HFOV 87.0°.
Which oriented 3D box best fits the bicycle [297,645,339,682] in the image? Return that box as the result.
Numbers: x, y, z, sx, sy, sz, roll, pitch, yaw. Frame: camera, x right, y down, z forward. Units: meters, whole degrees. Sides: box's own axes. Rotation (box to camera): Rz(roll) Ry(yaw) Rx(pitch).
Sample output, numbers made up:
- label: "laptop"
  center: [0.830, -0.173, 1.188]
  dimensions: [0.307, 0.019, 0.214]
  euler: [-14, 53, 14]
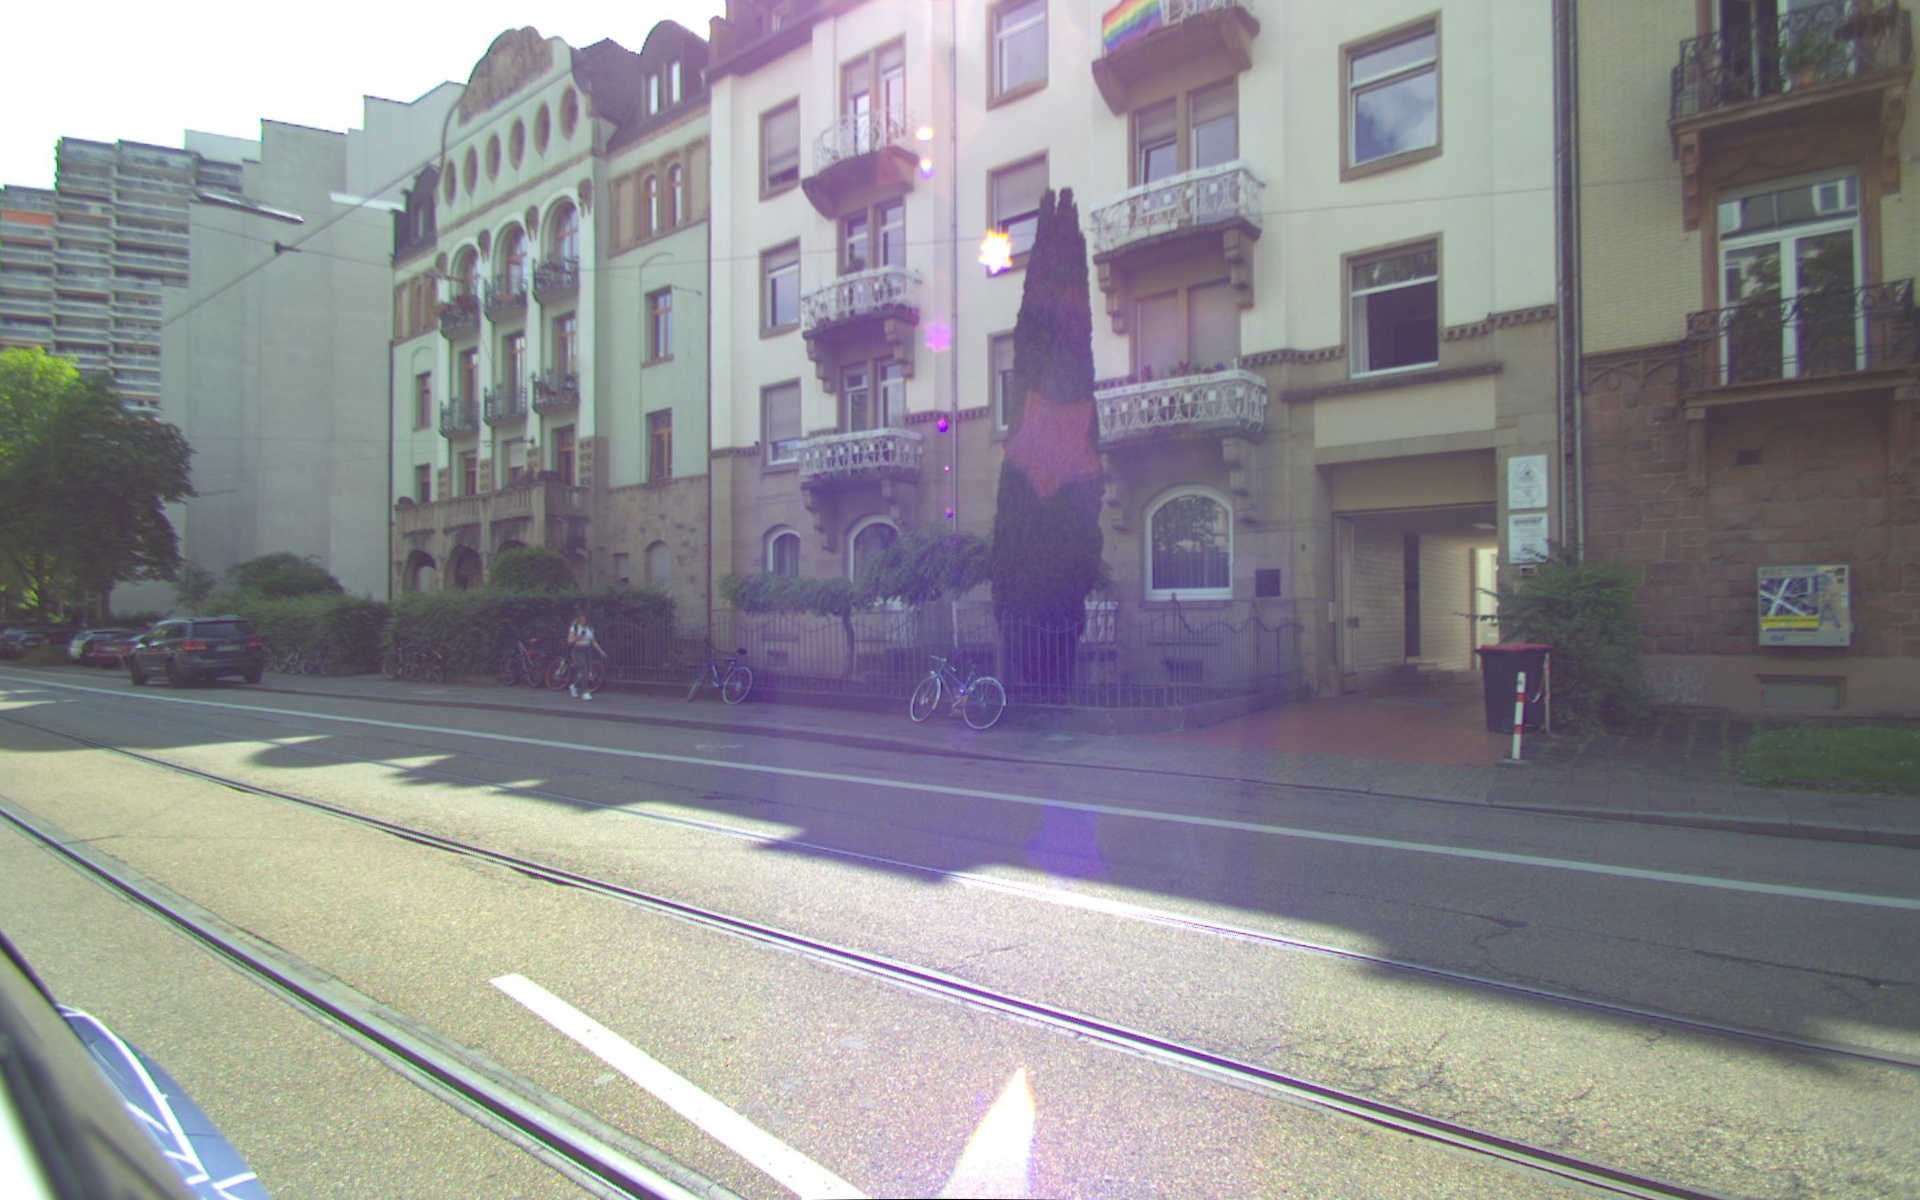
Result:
- label: "bicycle"
  center: [-17.472, 1.721, 27.533]
  dimensions: [1.919, 0.966, 0.379]
  euler: [-2, -1, 40]

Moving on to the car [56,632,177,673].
- label: "car"
  center: [-33.417, 2.100, 40.245]
  dimensions: [1.673, 1.495, 3.808]
  euler: [1, -3, -2]

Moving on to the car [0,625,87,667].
- label: "car"
  center: [-46.364, 2.304, 50.358]
  dimensions: [1.886, 1.969, 5.177]
  euler: [1, -3, -8]

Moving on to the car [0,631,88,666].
- label: "car"
  center: [-43.951, 2.318, 48.177]
  dimensions: [1.714, 1.605, 4.005]
  euler: [1, -3, -7]

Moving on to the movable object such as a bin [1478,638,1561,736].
- label: "movable object such as a bin"
  center: [6.681, 1.024, 12.101]
  dimensions: [0.587, 1.077, 0.609]
  euler: [-2, 1, -18]

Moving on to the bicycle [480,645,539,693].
- label: "bicycle"
  center: [-9.492, 1.432, 21.291]
  dimensions: [1.799, 0.966, 0.379]
  euler: [-2, -1, 40]

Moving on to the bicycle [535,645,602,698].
- label: "bicycle"
  center: [-7.620, 1.371, 19.658]
  dimensions: [1.799, 0.983, 0.379]
  euler: [-2, -1, 40]

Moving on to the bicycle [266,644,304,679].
- label: "bicycle"
  center: [-19.409, 1.751, 29.088]
  dimensions: [1.808, 0.966, 0.379]
  euler: [-2, -1, 40]

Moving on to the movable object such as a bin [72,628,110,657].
- label: "movable object such as a bin"
  center: [-54.880, 2.697, 63.892]
  dimensions: [1.535, 1.795, 1.375]
  euler: [-1, -5, 34]

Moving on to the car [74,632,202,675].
- label: "car"
  center: [-31.018, 2.028, 38.345]
  dimensions: [1.818, 1.495, 3.975]
  euler: [1, -3, -5]

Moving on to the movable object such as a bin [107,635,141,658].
- label: "movable object such as a bin"
  center: [-48.390, 2.690, 58.597]
  dimensions: [1.439, 1.293, 1.157]
  euler: [-1, -5, 37]

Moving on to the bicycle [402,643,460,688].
- label: "bicycle"
  center: [-12.195, 1.495, 23.309]
  dimensions: [1.798, 0.966, 0.447]
  euler: [-2, -1, 37]

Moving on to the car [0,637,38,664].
- label: "car"
  center: [-51.653, 2.688, 53.940]
  dimensions: [1.732, 1.428, 4.007]
  euler: [1, -3, -8]

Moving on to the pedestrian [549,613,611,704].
- label: "pedestrian"
  center: [-6.886, 1.043, 18.323]
  dimensions: [0.881, 1.580, 0.673]
  euler: [-2, 0, 40]

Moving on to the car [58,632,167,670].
- label: "car"
  center: [-35.681, 2.175, 42.740]
  dimensions: [1.671, 1.495, 3.813]
  euler: [1, -3, -8]

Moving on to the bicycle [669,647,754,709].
- label: "bicycle"
  center: [-4.173, 1.287, 16.933]
  dimensions: [1.704, 0.966, 0.422]
  euler: [-2, -1, 40]

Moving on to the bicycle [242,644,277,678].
- label: "bicycle"
  center: [-21.036, 1.819, 30.398]
  dimensions: [1.808, 0.966, 0.379]
  euler: [-2, -1, 40]

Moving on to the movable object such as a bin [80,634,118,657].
- label: "movable object such as a bin"
  center: [-53.479, 2.845, 62.841]
  dimensions: [1.535, 1.374, 1.375]
  euler: [-1, -5, 34]

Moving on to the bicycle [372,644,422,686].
- label: "bicycle"
  center: [-13.725, 1.561, 24.645]
  dimensions: [1.919, 0.966, 0.379]
  euler: [-2, -1, 40]

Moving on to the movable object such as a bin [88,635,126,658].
- label: "movable object such as a bin"
  center: [-52.140, 2.844, 61.869]
  dimensions: [1.535, 1.374, 1.375]
  euler: [-1, -5, 34]

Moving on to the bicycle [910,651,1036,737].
- label: "bicycle"
  center: [0.141, 1.211, 13.430]
  dimensions: [1.816, 0.966, 0.505]
  euler: [1, 2, 45]

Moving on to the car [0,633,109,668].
- label: "car"
  center: [-41.418, 2.319, 46.303]
  dimensions: [1.714, 1.495, 4.004]
  euler: [1, -3, -5]

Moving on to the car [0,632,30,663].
- label: "car"
  center: [-54.007, 2.593, 56.021]
  dimensions: [1.733, 1.706, 3.720]
  euler: [1, -3, -6]

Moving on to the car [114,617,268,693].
- label: "car"
  center: [-19.732, 1.368, 25.896]
  dimensions: [4.872, 1.776, 1.769]
  euler: [-2, -2, 36]
